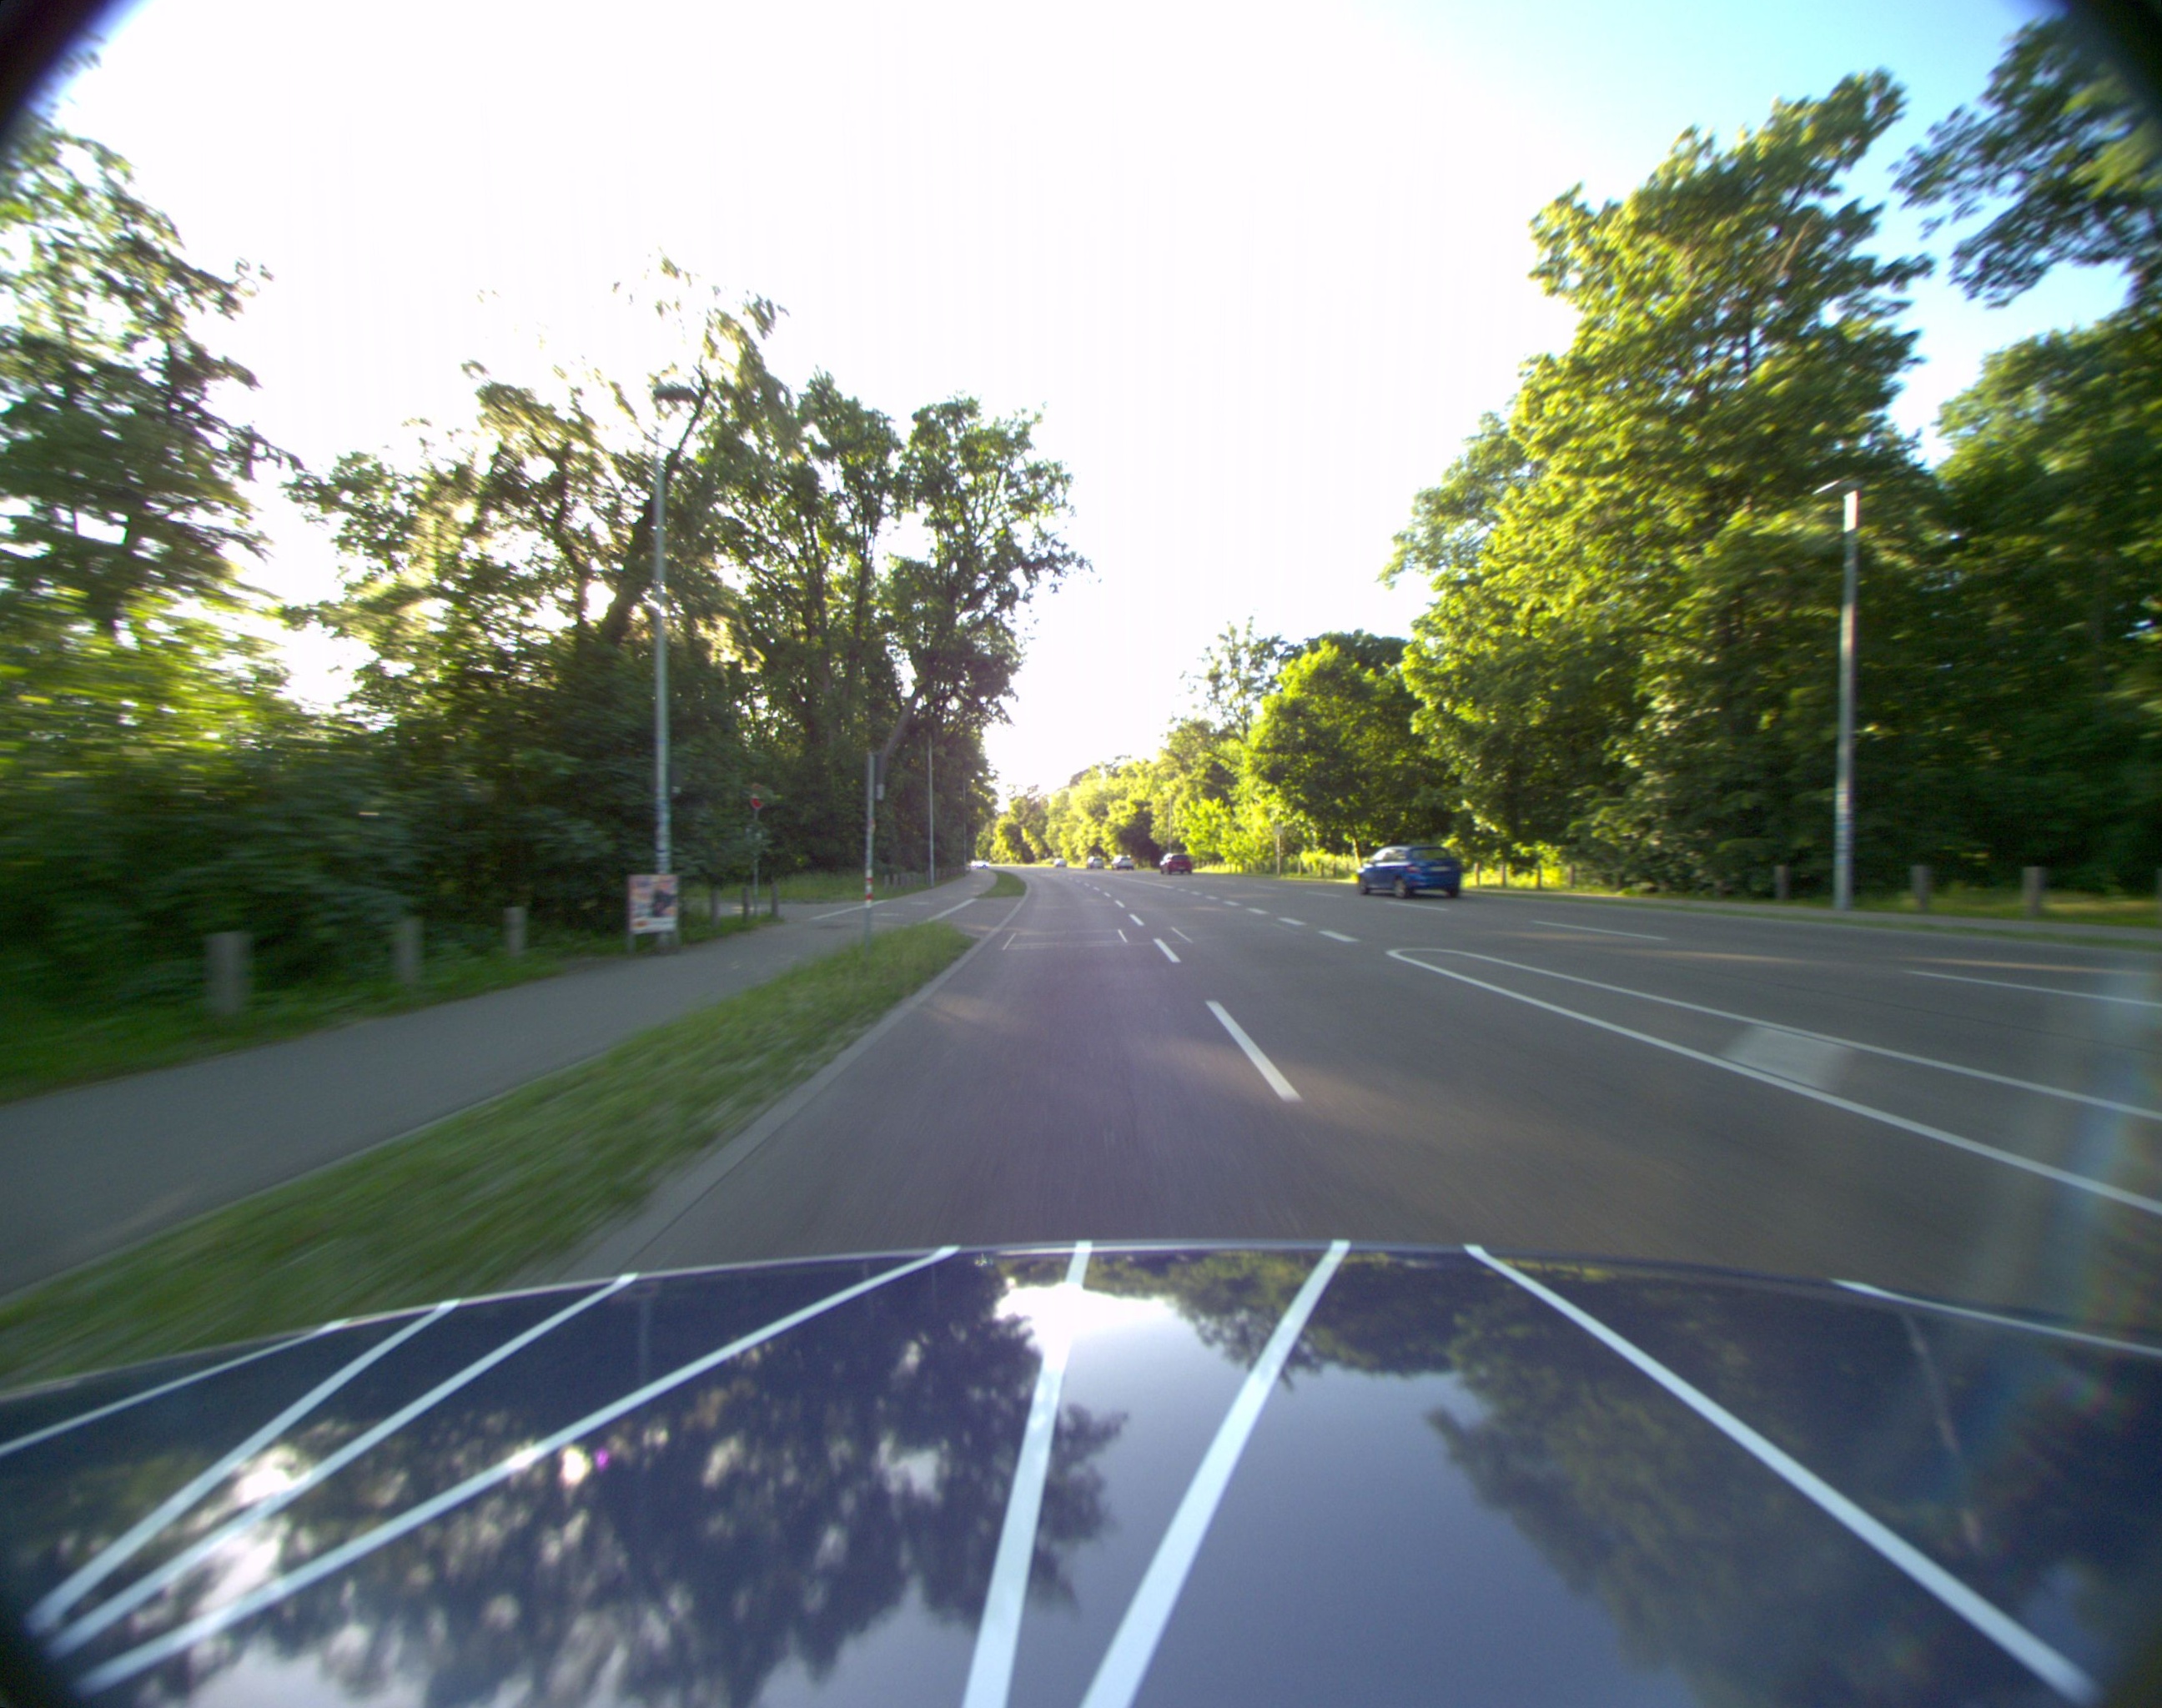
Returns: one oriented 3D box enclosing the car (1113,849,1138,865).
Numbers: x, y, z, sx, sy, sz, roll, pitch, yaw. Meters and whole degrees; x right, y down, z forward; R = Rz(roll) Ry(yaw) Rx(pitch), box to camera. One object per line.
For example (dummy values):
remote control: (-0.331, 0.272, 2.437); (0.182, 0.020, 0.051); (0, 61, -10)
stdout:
car: (4.540, 0.328, 78.094); (1.788, 1.513, 4.395); (-3, 0, -7)

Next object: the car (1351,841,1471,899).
car: (9.406, 0.417, 22.006); (1.660, 1.499, 3.999); (-1, 0, -1)

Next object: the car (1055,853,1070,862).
car: (-3.121, 0.649, 126.812); (1.785, 1.400, 4.162); (-1, -1, -10)

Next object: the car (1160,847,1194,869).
car: (6.896, 0.273, 54.808); (1.668, 1.509, 3.805); (-1, 0, -4)

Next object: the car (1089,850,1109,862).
car: (2.212, 0.241, 94.341); (1.785, 1.455, 4.271); (-1, 0, -7)
